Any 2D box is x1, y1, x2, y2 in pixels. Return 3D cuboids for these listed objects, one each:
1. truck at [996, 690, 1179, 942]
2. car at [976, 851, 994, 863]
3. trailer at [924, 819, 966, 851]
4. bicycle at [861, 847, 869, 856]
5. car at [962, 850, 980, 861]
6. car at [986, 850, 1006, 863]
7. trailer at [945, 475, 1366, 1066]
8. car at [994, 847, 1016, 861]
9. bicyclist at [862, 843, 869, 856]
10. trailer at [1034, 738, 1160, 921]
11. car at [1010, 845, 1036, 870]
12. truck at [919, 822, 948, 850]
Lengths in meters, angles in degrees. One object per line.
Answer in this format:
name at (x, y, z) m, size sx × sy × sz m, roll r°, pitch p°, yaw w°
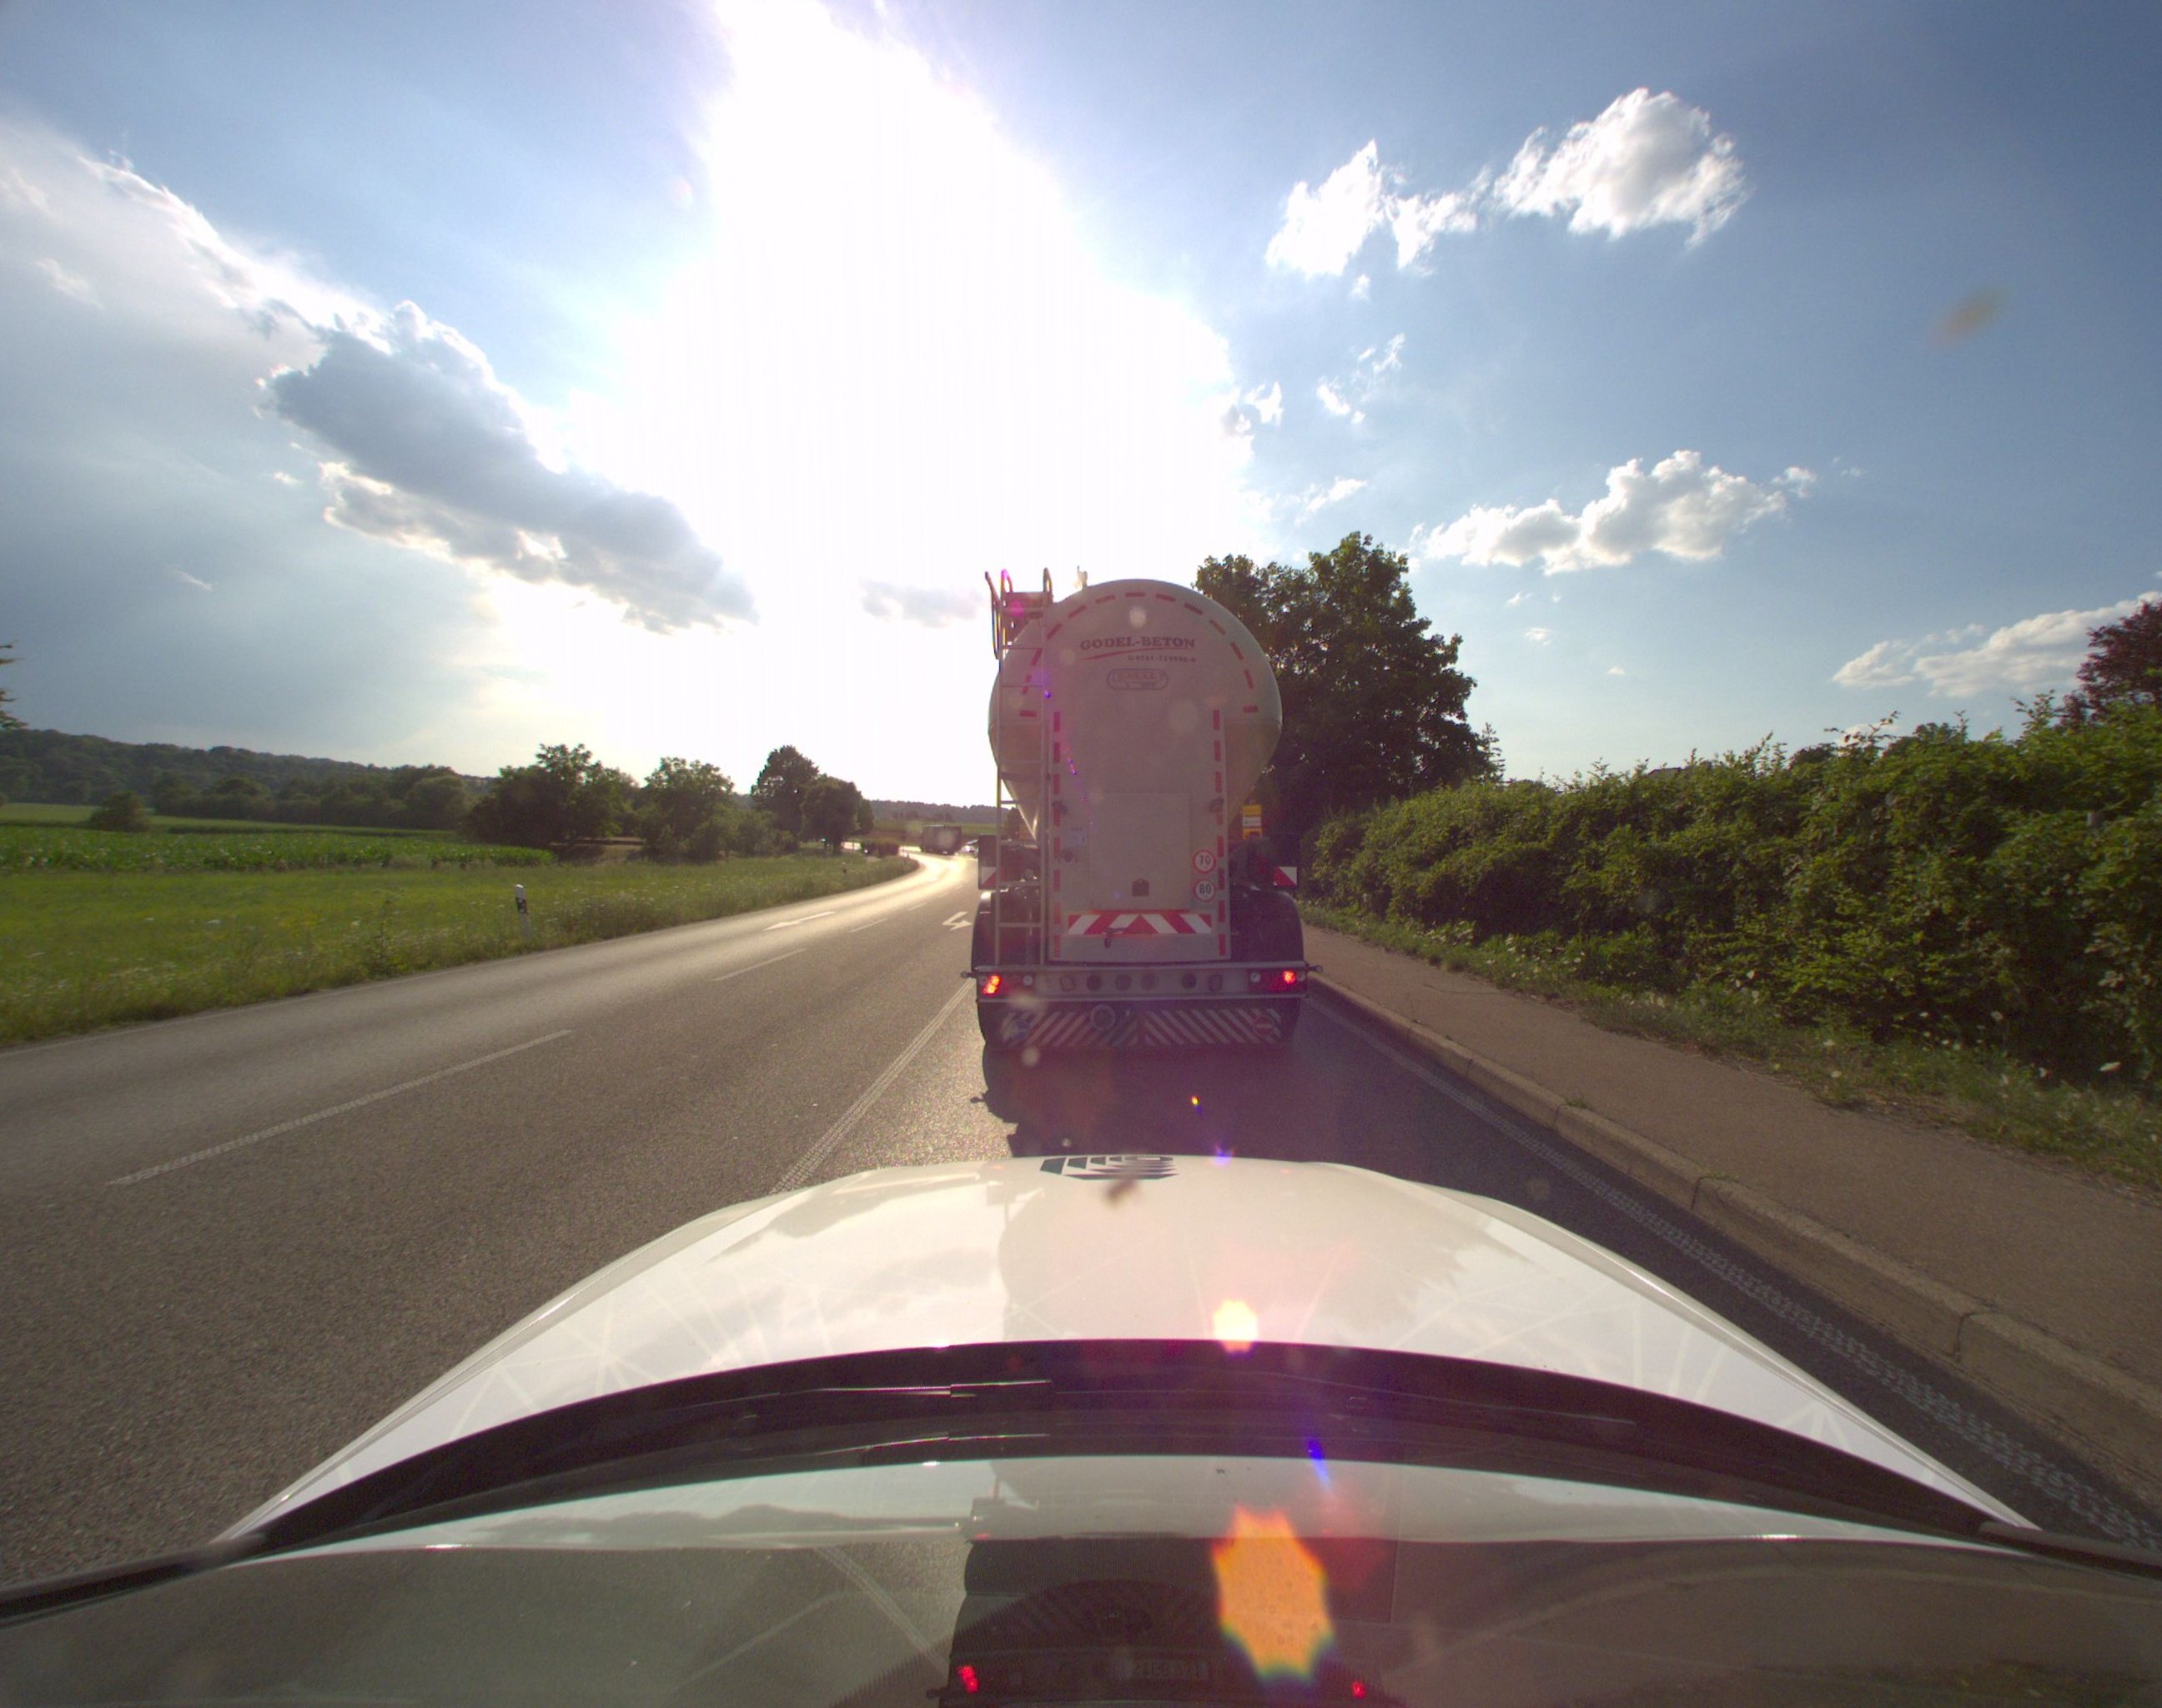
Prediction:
truck at (0.021, -0.619, 15.029) m, size 2.903 × 4.006 × 4.055 m, roll 0°, pitch 0°, yaw -3°
car at (-11.353, 0.359, 96.369) m, size 1.583 × 1.341 × 3.407 m, roll 1°, pitch 0°, yaw -16°
trailer at (-20.234, -2.656, 120.295) m, size 3.388 × 4.350 × 14.192 m, roll 1°, pitch 0°, yaw -21°
bicycle at (-25.255, -0.280, 95.287) m, size 0.634 × 1.074 × 1.667 m, roll 2°, pitch 0°, yaw -6°
car at (-13.899, 0.191, 102.672) m, size 1.773 × 1.205 × 3.407 m, roll -5°, pitch 2°, yaw -16°
car at (-9.224, 0.275, 88.162) m, size 1.583 × 1.341 × 3.407 m, roll 1°, pitch 0°, yaw -16°
trailer at (0.259, -0.580, 10.578) m, size 2.903 × 4.006 × 9.917 m, roll 0°, pitch 0°, yaw -3°
car at (-7.660, -0.027, 81.895) m, size 1.583 × 1.341 × 3.407 m, roll 1°, pitch 0°, yaw -16°
bicyclist at (-25.246, -0.534, 95.265) m, size 0.634 × 1.419 × 0.689 m, roll 2°, pitch 0°, yaw -7°
trailer at (0.647, -0.603, 26.493) m, size 2.943 × 4.315 × 14.182 m, roll 1°, pitch 0°, yaw 2°
car at (-4.838, 0.304, 67.460) m, size 1.861 × 2.013 × 3.708 m, roll 0°, pitch 0°, yaw -9°
truck at (-23.163, -2.760, 127.780) m, size 3.388 × 4.350 × 5.665 m, roll 1°, pitch 0°, yaw -21°
